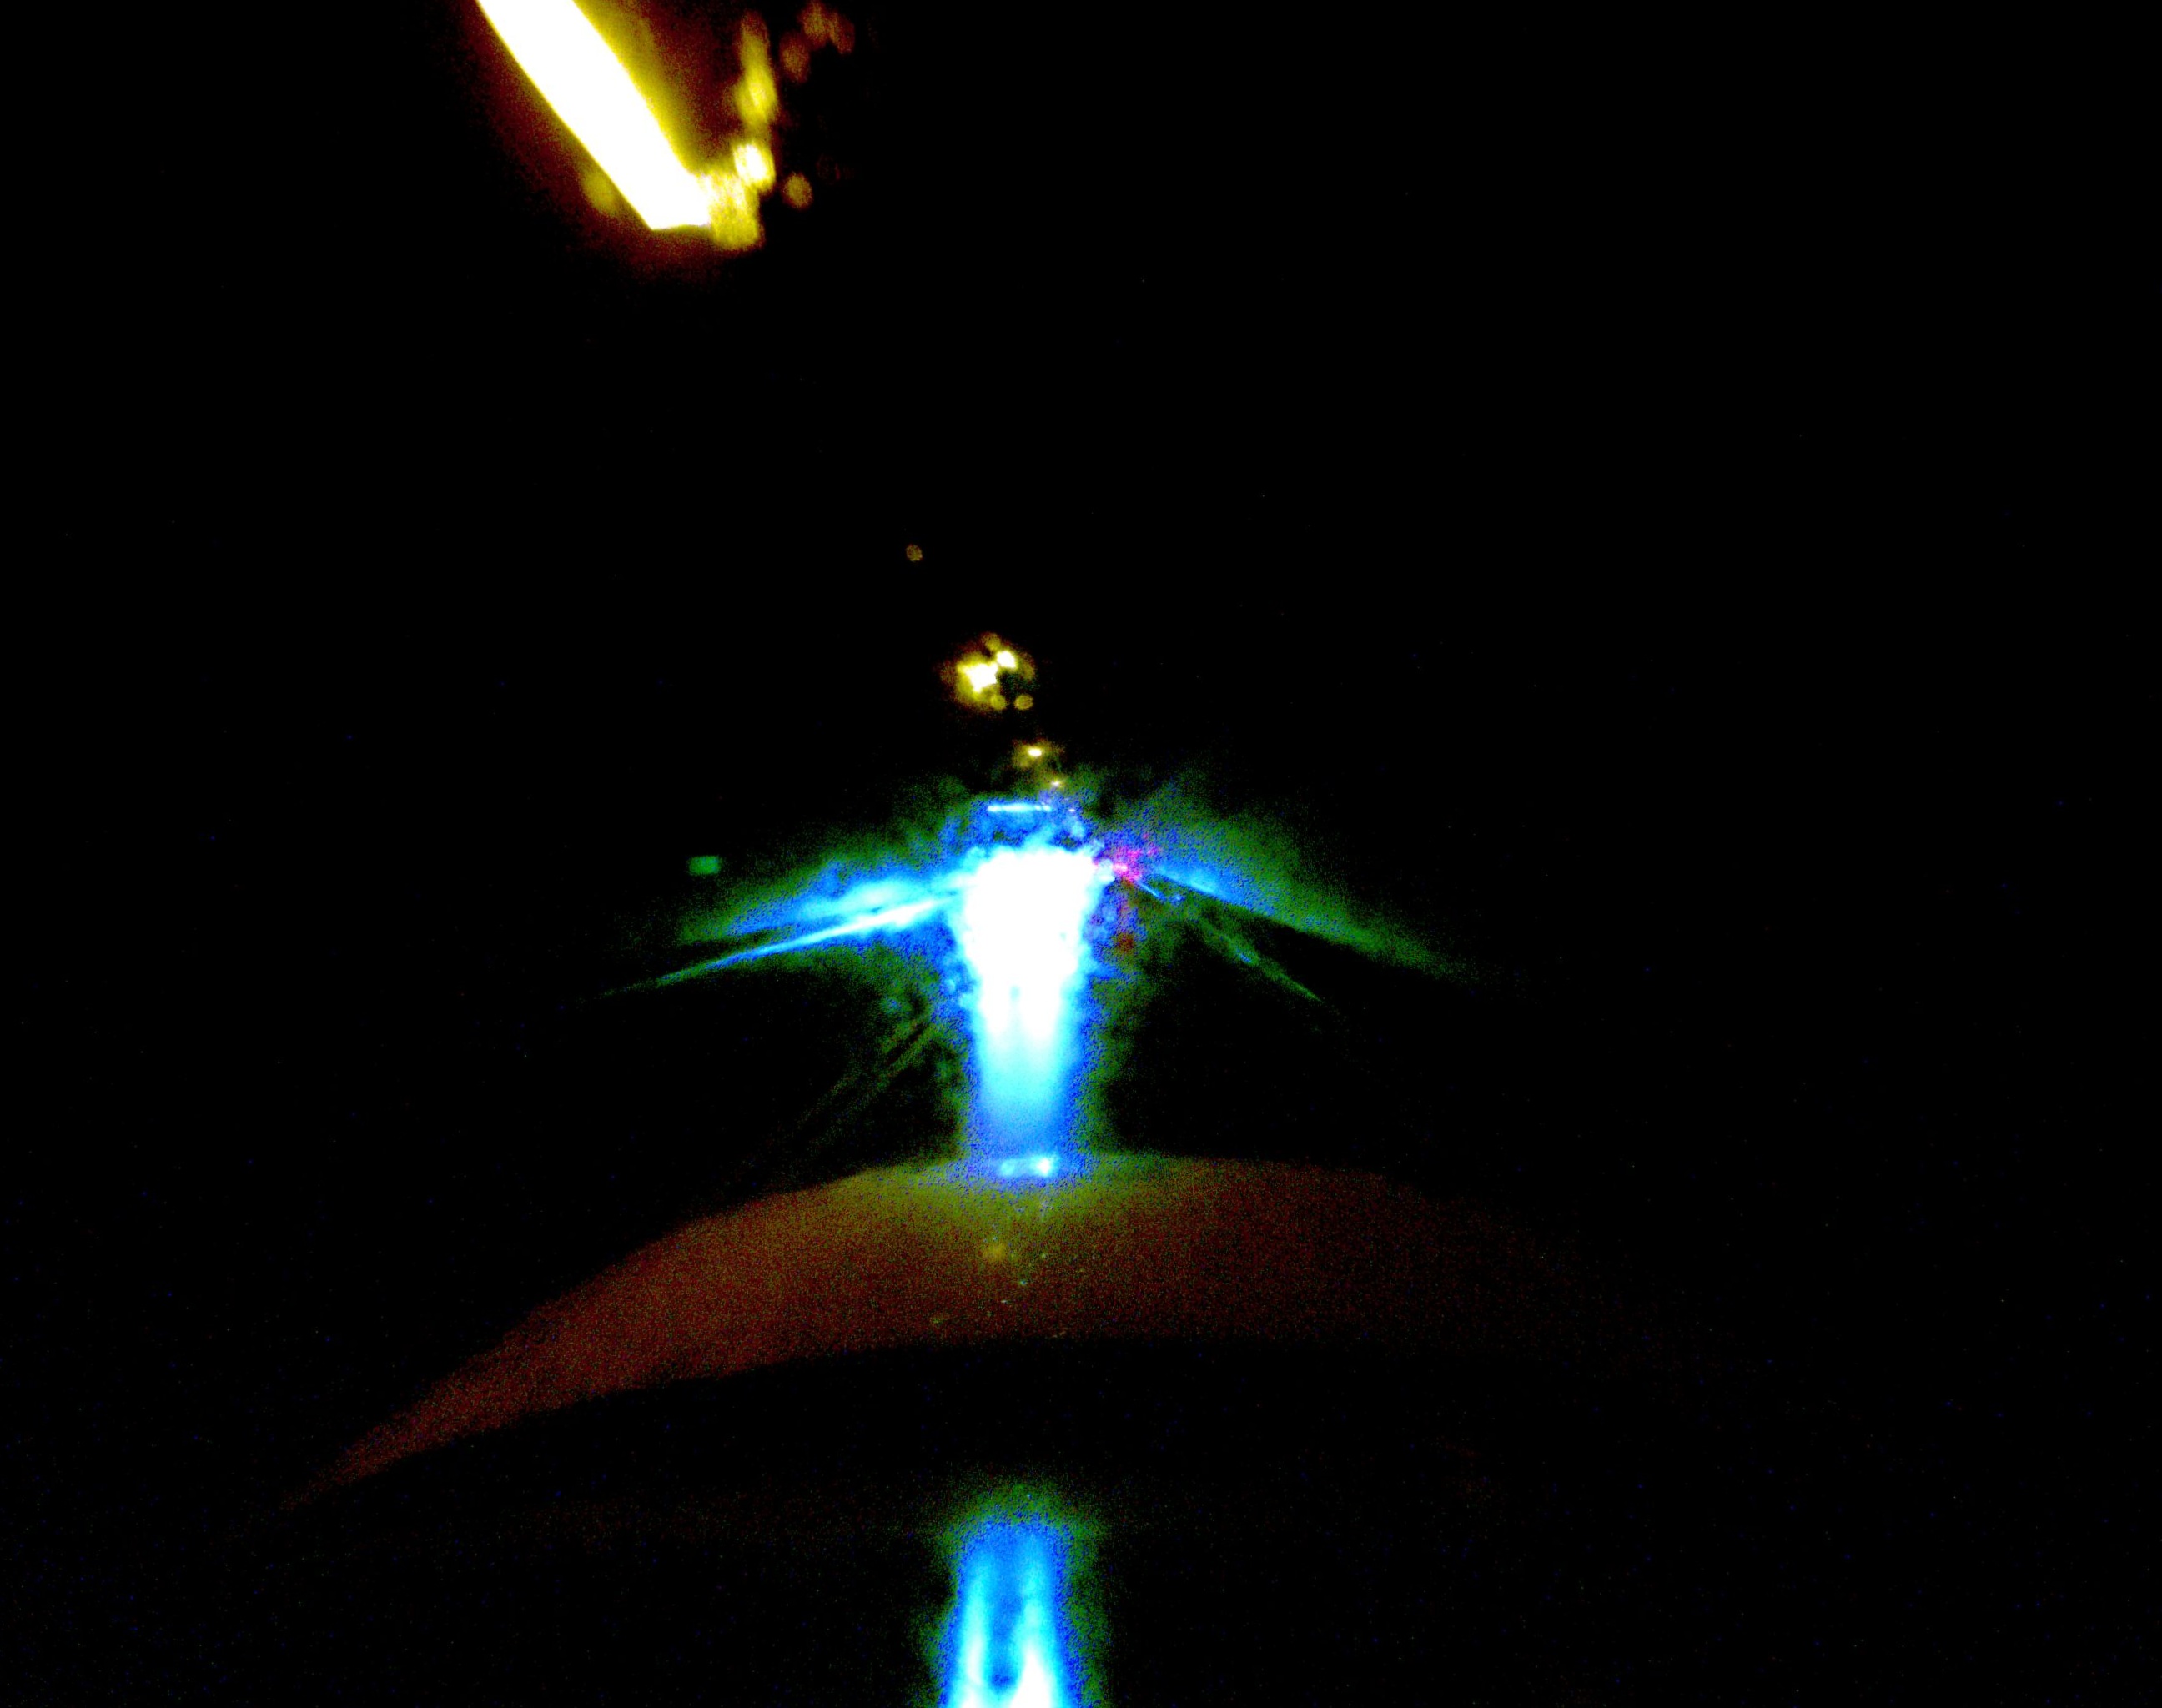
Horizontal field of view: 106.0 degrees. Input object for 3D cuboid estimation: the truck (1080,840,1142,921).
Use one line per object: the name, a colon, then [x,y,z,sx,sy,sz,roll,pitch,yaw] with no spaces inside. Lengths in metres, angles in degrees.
truck: [1.240,1.025,34.654,2.254,3.011,7.417,-2,0,2]

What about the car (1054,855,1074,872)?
car: [-1.559,0.859,77.228,1.654,1.490,3.964,-3,0,1]
